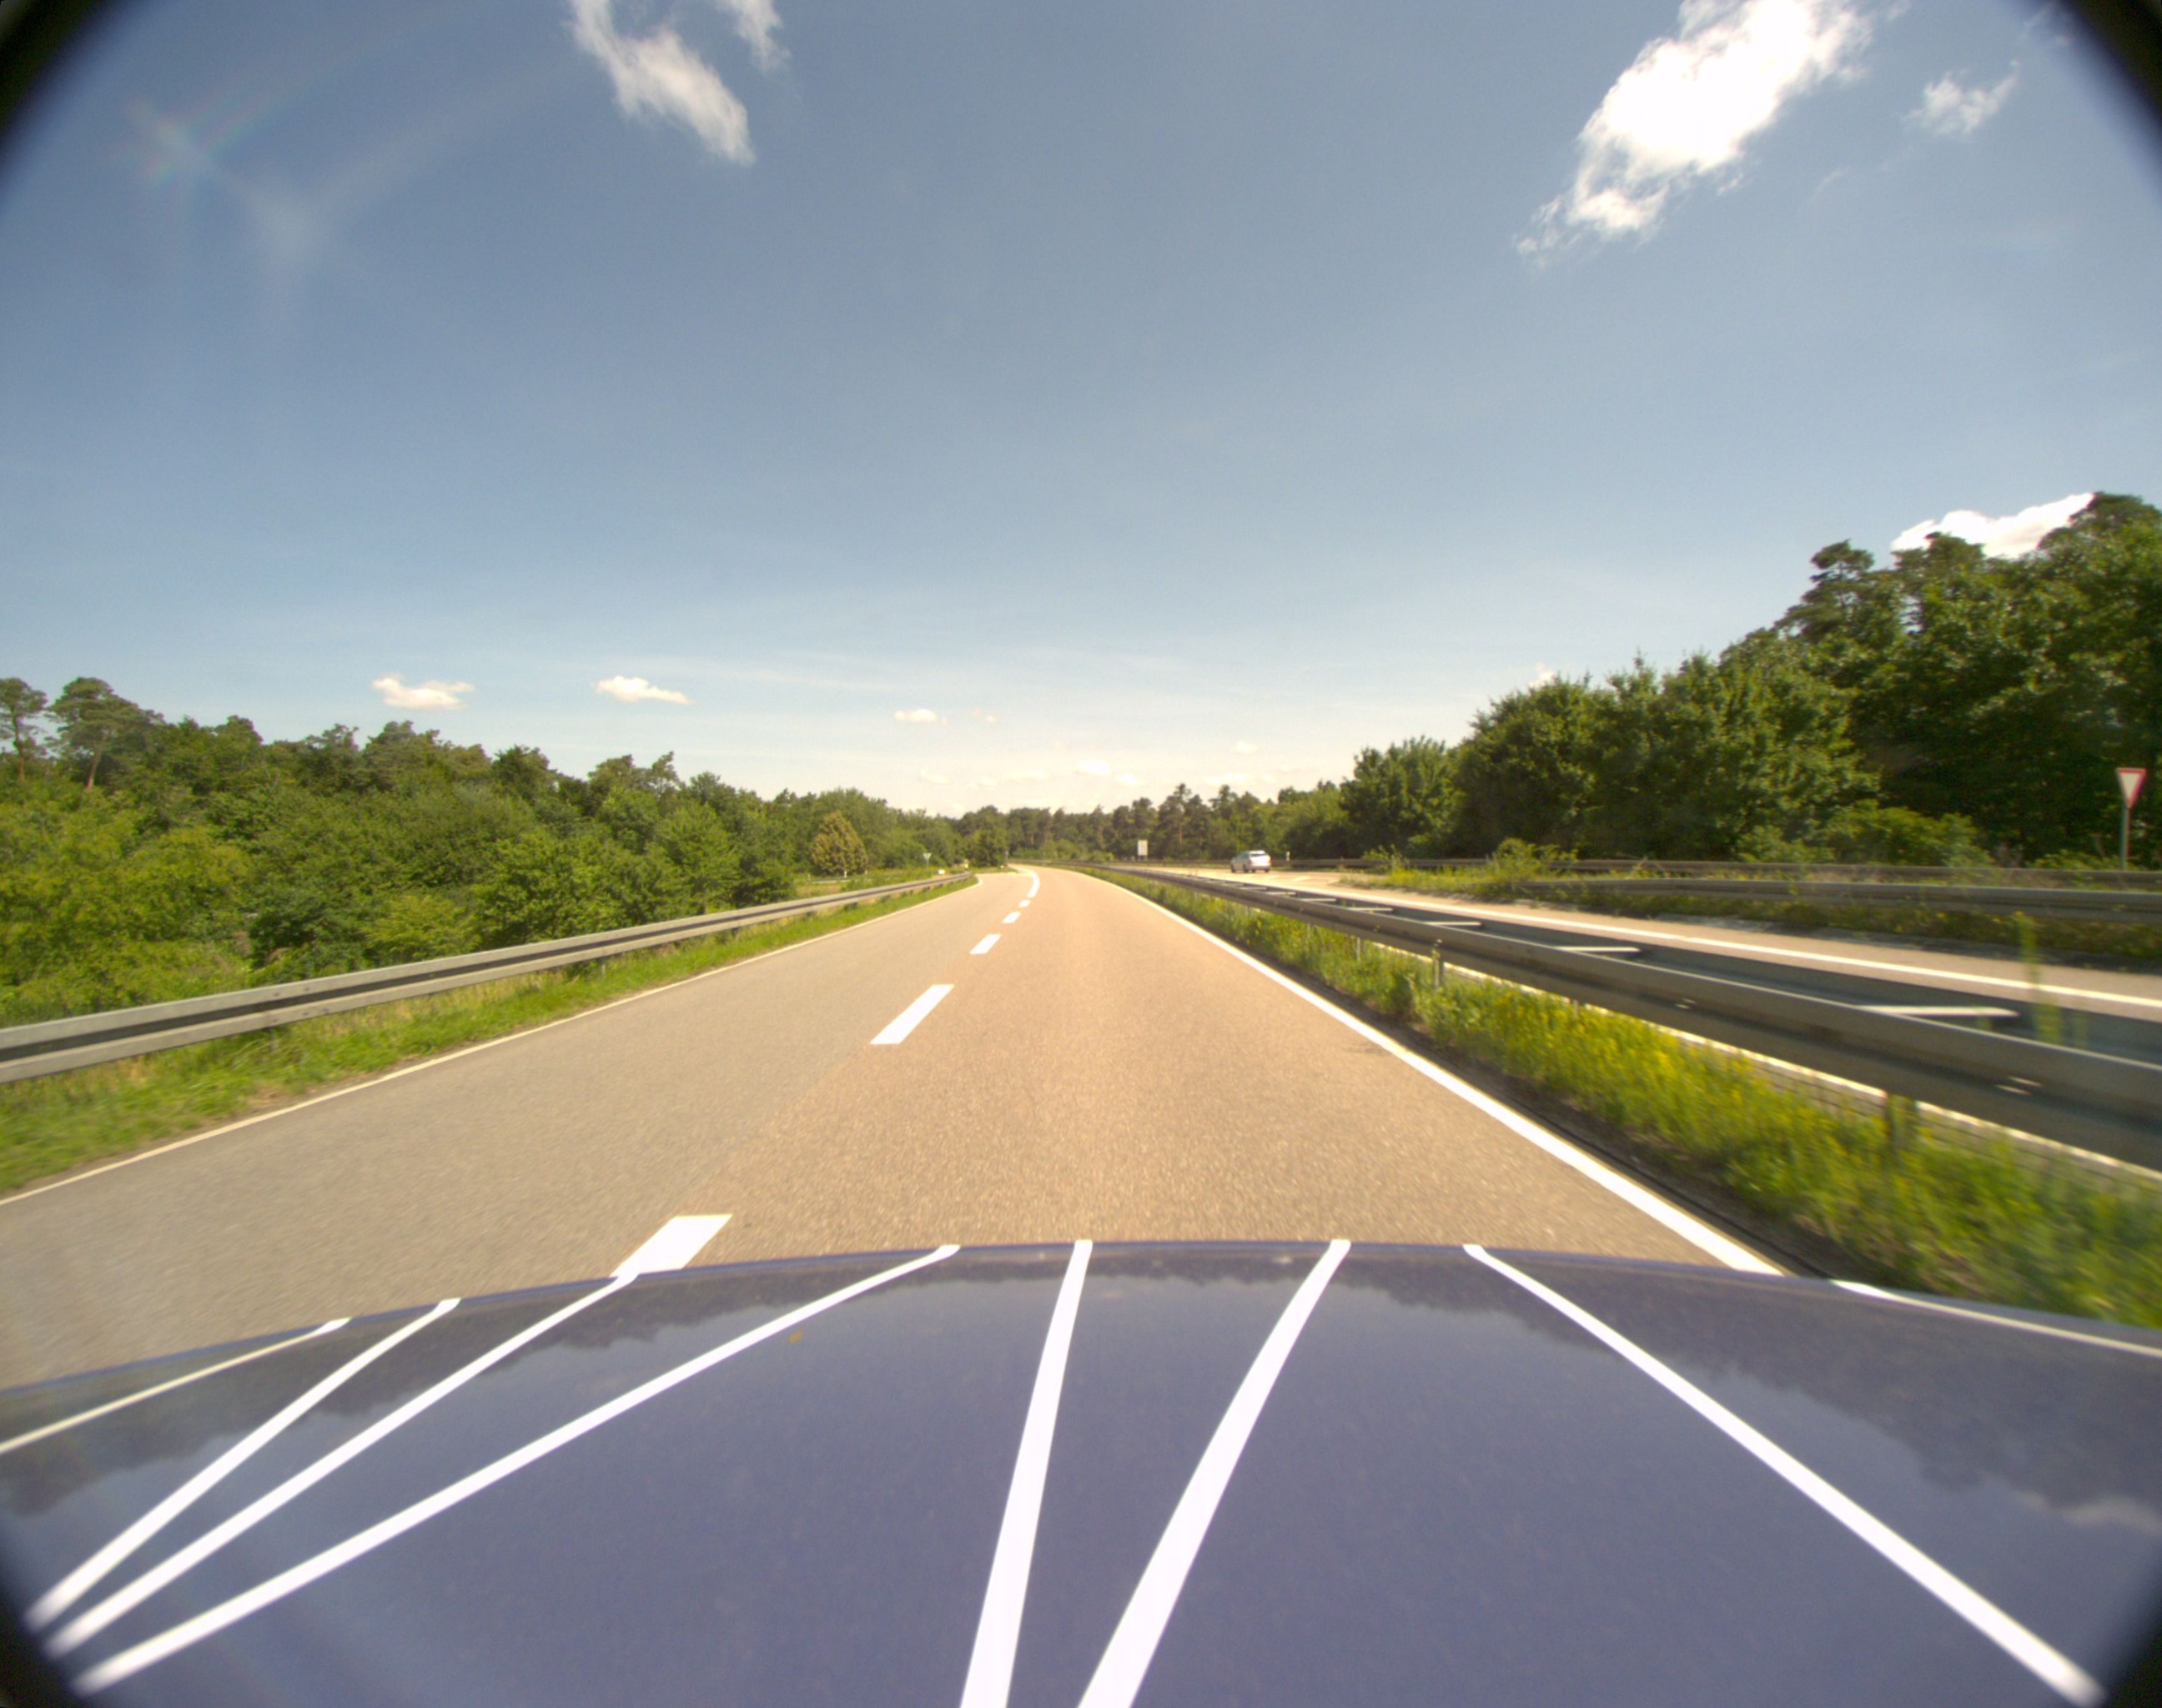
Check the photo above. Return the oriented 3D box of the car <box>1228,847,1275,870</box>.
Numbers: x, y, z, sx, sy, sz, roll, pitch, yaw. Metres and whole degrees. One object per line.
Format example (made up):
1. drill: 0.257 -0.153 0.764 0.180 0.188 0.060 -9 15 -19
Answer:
1. car: 11.357 0.296 50.783 1.684 1.419 4.209 -2 0 -7
